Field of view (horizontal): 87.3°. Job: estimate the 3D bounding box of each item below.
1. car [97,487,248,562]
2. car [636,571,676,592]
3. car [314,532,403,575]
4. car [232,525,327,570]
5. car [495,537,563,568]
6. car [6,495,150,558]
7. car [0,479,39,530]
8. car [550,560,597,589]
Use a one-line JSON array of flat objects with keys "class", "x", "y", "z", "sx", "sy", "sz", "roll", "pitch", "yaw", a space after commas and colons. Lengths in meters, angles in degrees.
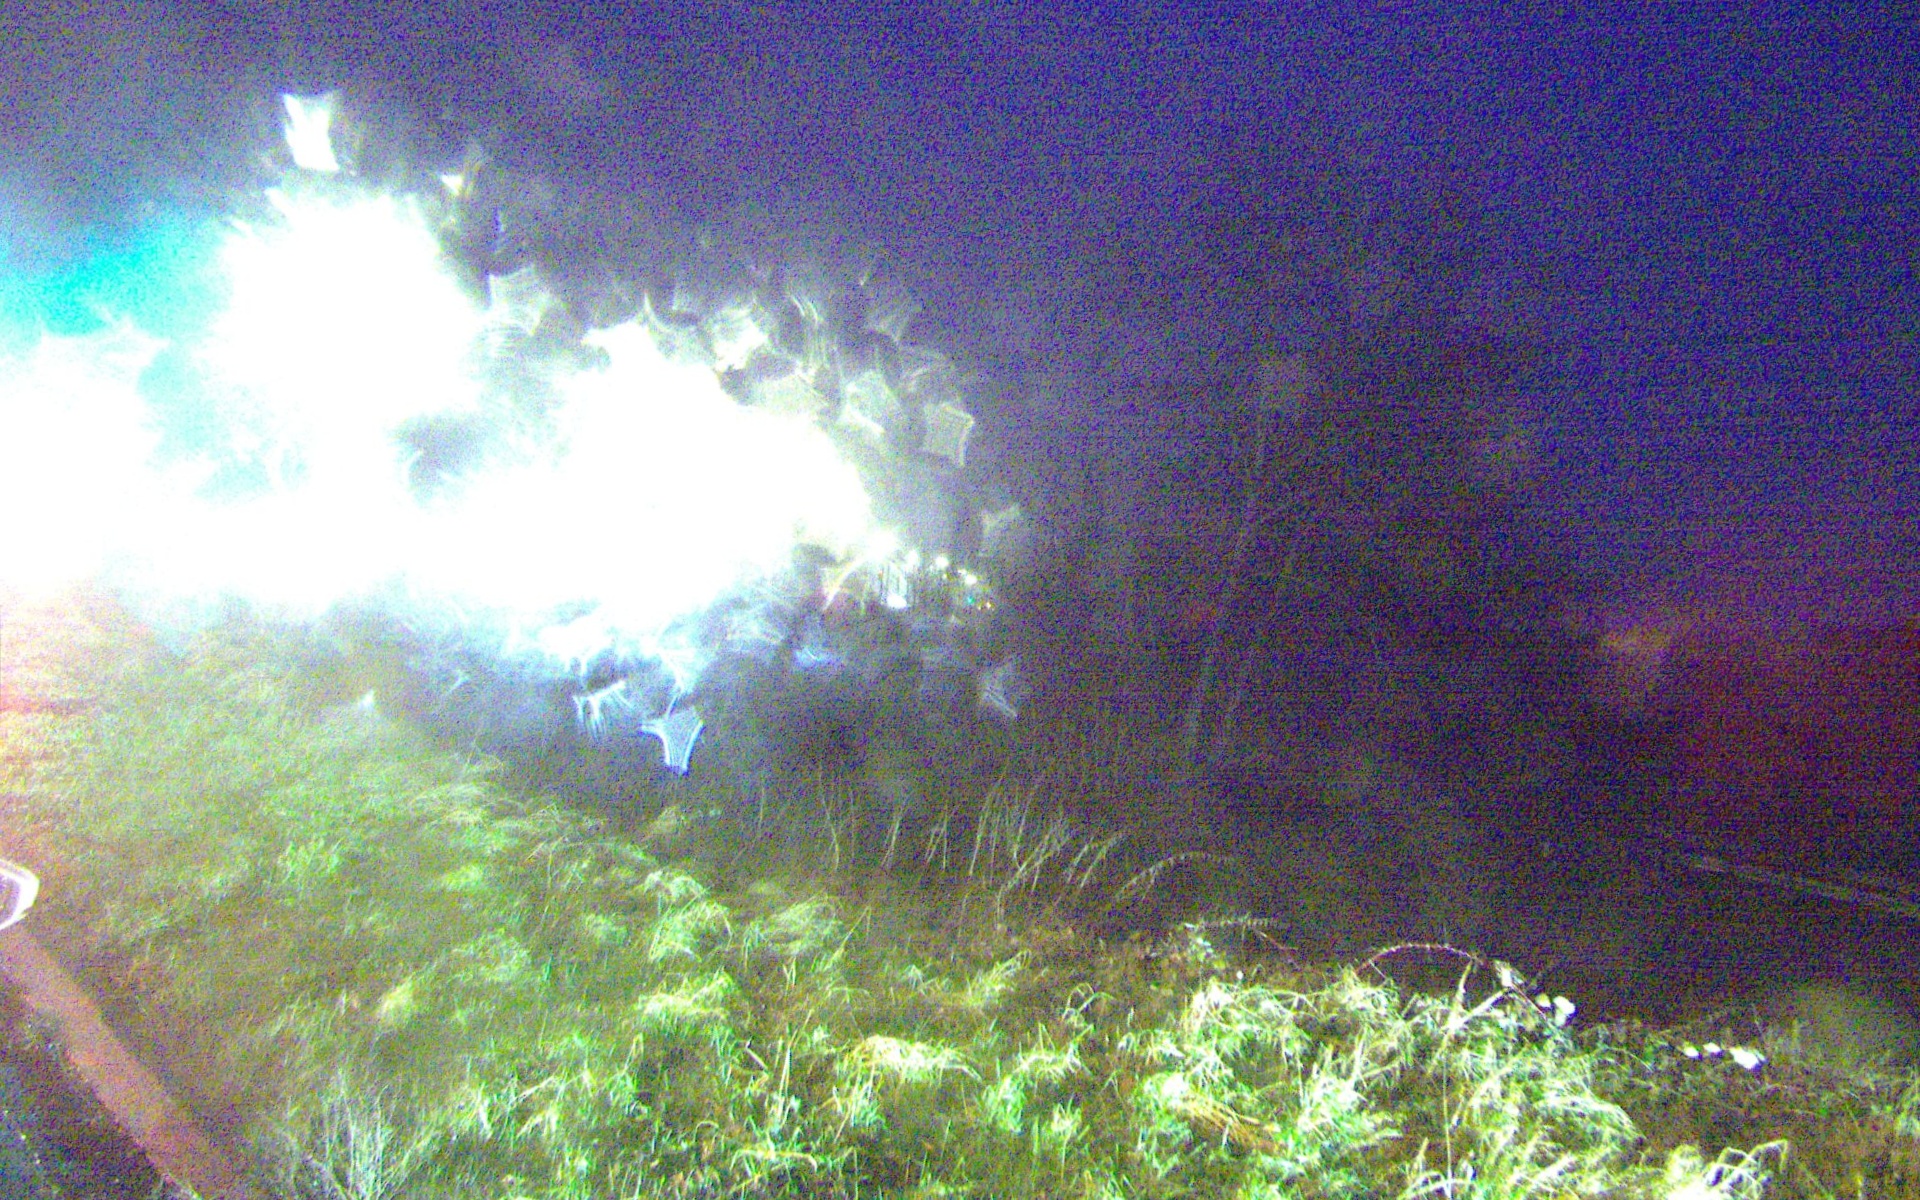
[{"class": "car", "x": -37.842, "y": -3.561, "z": 48.609, "sx": 2.213, "sy": 2.741, "sz": 5.615, "roll": 7, "pitch": -2, "yaw": 6}, {"class": "car", "x": -27.020, "y": -1.628, "z": 89.543, "sx": 1.784, "sy": 1.597, "sz": 4.307, "roll": 6, "pitch": 0, "yaw": 4}, {"class": "car", "x": -30.652, "y": -2.339, "z": 51.397, "sx": 1.770, "sy": 1.685, "sz": 3.980, "roll": 7, "pitch": -2, "yaw": 5}, {"class": "car", "x": -35.043, "y": -2.668, "z": 51.947, "sx": 1.732, "sy": 1.734, "sz": 4.129, "roll": 7, "pitch": -2, "yaw": 5}, {"class": "car", "x": -26.376, "y": -2.881, "z": 61.754, "sx": 1.748, "sy": 1.502, "sz": 4.414, "roll": 4, "pitch": 0, "yaw": 7}, {"class": "car", "x": -35.275, "y": -2.908, "z": 40.400, "sx": 1.732, "sy": 1.870, "sz": 4.129, "roll": 7, "pitch": -2, "yaw": 5}, {"class": "car", "x": -32.264, "y": -3.315, "z": 32.020, "sx": 1.685, "sy": 1.504, "sz": 4.062, "roll": 7, "pitch": -2, "yaw": 9}, {"class": "car", "x": -31.492, "y": -2.027, "z": 82.121, "sx": 1.794, "sy": 1.870, "sz": 4.005, "roll": 7, "pitch": -2, "yaw": 5}]
